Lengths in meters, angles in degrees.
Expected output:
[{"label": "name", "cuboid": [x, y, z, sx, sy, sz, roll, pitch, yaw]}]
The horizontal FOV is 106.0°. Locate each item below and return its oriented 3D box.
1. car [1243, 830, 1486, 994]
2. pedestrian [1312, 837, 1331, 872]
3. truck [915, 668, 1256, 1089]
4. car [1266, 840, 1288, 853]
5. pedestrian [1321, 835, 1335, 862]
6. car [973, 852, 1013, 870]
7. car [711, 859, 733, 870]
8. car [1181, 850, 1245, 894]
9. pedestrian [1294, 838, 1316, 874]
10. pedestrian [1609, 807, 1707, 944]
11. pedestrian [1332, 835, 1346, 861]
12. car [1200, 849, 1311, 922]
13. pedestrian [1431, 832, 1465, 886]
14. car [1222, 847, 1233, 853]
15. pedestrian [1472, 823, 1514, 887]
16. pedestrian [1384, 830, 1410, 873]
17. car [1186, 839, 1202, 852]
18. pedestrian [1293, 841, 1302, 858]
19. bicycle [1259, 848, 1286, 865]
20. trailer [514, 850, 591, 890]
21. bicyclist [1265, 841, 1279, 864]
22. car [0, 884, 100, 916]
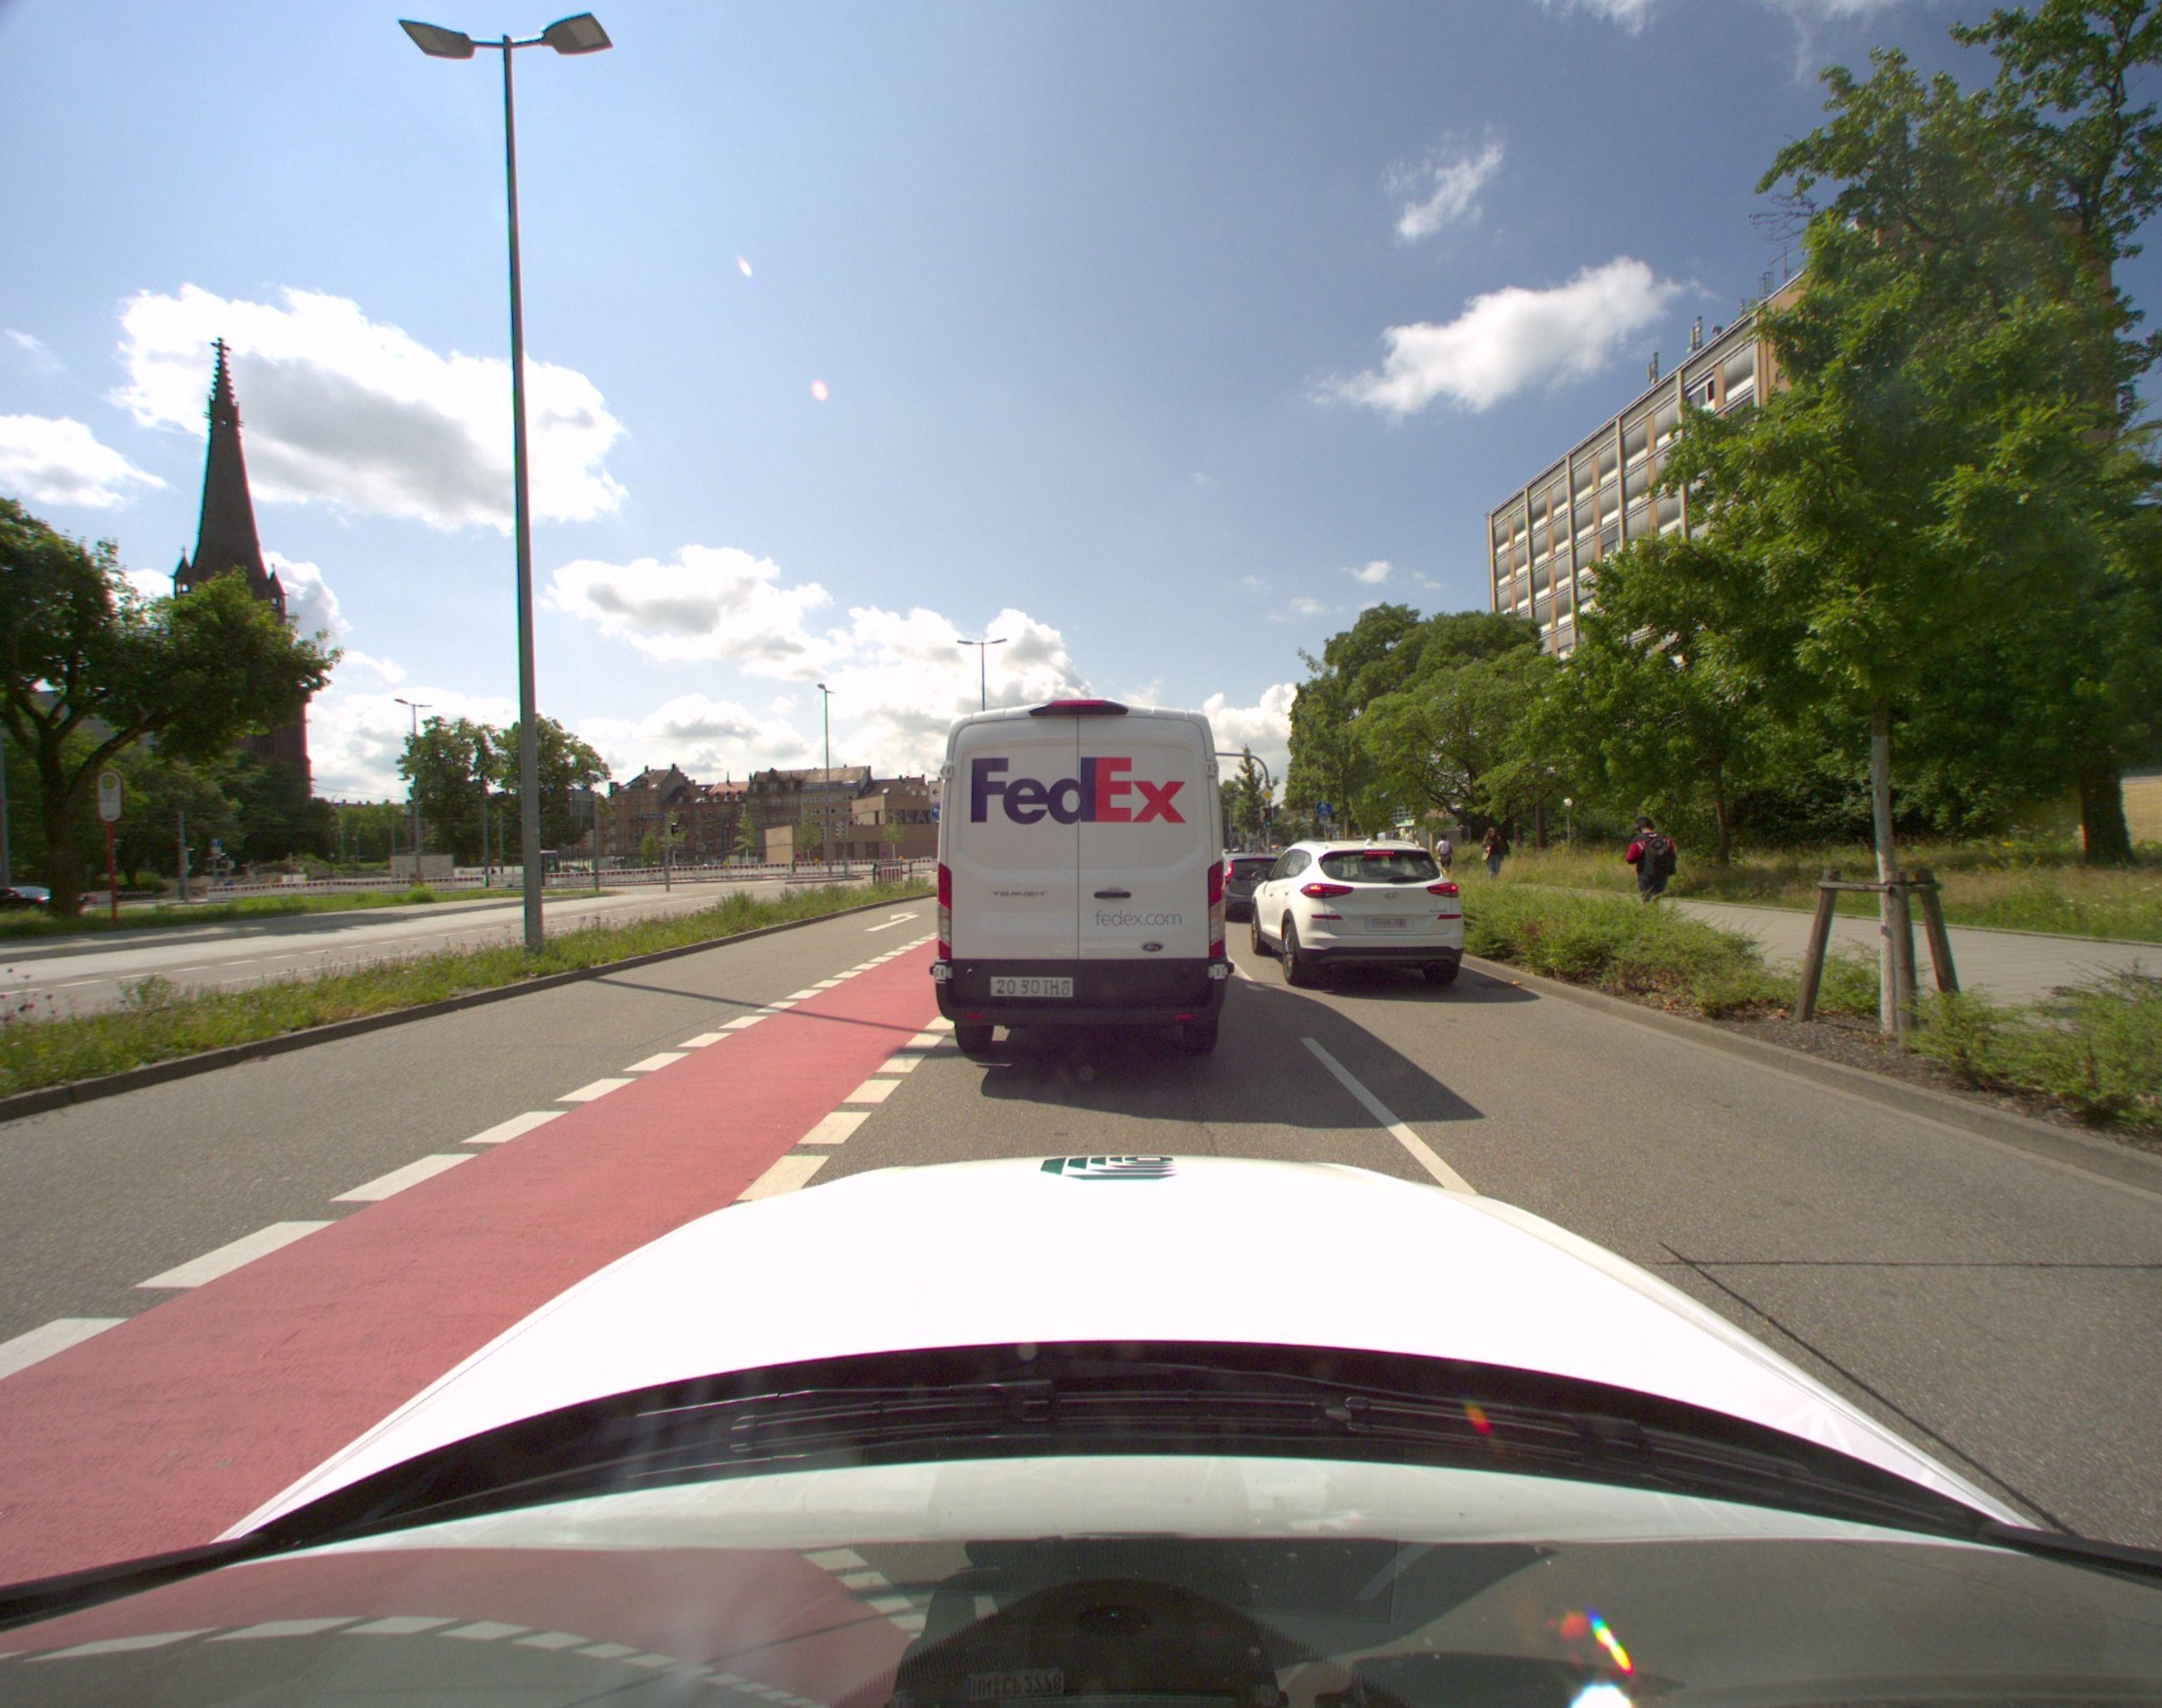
[{"label": "car", "cuboid": [3.337, 0.585, 10.502, 1.873, 1.641, 4.237, -2, 0, 4]}, {"label": "pedestrian", "cuboid": [12.368, 0.013, 41.912, 0.665, 1.746, 0.608, -3, 0, -4]}, {"label": "truck", "cuboid": [0.119, 0.158, 8.114, 2.129, 2.640, 5.920, -1, 0, 2]}, {"label": "car", "cuboid": [25.325, -0.972, 105.038, 1.863, 1.641, 3.981, -2, 0, 27]}, {"label": "pedestrian", "cuboid": [16.891, -0.403, 55.758, 0.745, 1.802, 0.611, -3, 0, 8]}, {"label": "car", "cuboid": [-7.721, 0.607, 72.138, 1.977, 1.508, 4.036, -1, -1, 19]}, {"label": "car", "cuboid": [-80.691, 2.401, 183.139, 4.084, 2.343, 2.004, 0, -1, 8]}, {"label": "car", "cuboid": [4.690, 0.607, 29.452, 1.906, 1.420, 3.922, -2, 0, 4]}, {"label": "pedestrian", "cuboid": [11.477, 0.121, 41.686, 0.748, 1.777, 0.880, -3, 0, -4]}, {"label": "pedestrian", "cuboid": [7.794, 0.276, 11.035, 0.664, 1.750, 0.848, -3, 0, 1]}, {"label": "pedestrian", "cuboid": [17.718, -0.425, 56.026, 0.745, 1.752, 0.611, -3, 0, 8]}, {"label": "car", "cuboid": [3.871, 0.638, 18.684, 1.906, 1.420, 3.922, -2, 0, 4]}, {"label": "pedestrian", "cuboid": [11.176, 0.154, 24.809, 0.664, 1.596, 0.648, -3, 0, 1]}, {"label": "car", "cuboid": [38.537, -1.072, 214.221, 1.976, 1.574, 4.201, -1, -1, 23]}, {"label": "pedestrian", "cuboid": [11.713, 0.035, 23.172, 0.664, 1.750, 0.878, -3, 0, 1]}, {"label": "pedestrian", "cuboid": [13.098, -0.108, 33.777, 0.747, 1.750, 0.667, -3, 0, -2]}, {"label": "car", "cuboid": [19.500, -1.444, 140.289, 1.977, 2.014, 4.143, -1, -1, 19]}, {"label": "pedestrian", "cuboid": [20.456, -0.465, 76.957, 0.752, 1.589, 0.762, 0, -1, 4]}, {"label": "bicycle", "cuboid": [13.763, 0.183, 58.662, 1.799, 1.050, 0.593, -4, -2, 8]}, {"label": "trailer", "cuboid": [-39.517, 1.153, 60.958, 1.974, 2.914, 4.393, -1, -1, 38]}, {"label": "bicyclist", "cuboid": [13.745, -0.089, 58.671, 0.823, 1.601, 0.581, -4, -2, 9]}, {"label": "car", "cuboid": [-57.111, 2.521, 44.551, 4.480, 1.486, 2.001, -2, 0, 1]}]
